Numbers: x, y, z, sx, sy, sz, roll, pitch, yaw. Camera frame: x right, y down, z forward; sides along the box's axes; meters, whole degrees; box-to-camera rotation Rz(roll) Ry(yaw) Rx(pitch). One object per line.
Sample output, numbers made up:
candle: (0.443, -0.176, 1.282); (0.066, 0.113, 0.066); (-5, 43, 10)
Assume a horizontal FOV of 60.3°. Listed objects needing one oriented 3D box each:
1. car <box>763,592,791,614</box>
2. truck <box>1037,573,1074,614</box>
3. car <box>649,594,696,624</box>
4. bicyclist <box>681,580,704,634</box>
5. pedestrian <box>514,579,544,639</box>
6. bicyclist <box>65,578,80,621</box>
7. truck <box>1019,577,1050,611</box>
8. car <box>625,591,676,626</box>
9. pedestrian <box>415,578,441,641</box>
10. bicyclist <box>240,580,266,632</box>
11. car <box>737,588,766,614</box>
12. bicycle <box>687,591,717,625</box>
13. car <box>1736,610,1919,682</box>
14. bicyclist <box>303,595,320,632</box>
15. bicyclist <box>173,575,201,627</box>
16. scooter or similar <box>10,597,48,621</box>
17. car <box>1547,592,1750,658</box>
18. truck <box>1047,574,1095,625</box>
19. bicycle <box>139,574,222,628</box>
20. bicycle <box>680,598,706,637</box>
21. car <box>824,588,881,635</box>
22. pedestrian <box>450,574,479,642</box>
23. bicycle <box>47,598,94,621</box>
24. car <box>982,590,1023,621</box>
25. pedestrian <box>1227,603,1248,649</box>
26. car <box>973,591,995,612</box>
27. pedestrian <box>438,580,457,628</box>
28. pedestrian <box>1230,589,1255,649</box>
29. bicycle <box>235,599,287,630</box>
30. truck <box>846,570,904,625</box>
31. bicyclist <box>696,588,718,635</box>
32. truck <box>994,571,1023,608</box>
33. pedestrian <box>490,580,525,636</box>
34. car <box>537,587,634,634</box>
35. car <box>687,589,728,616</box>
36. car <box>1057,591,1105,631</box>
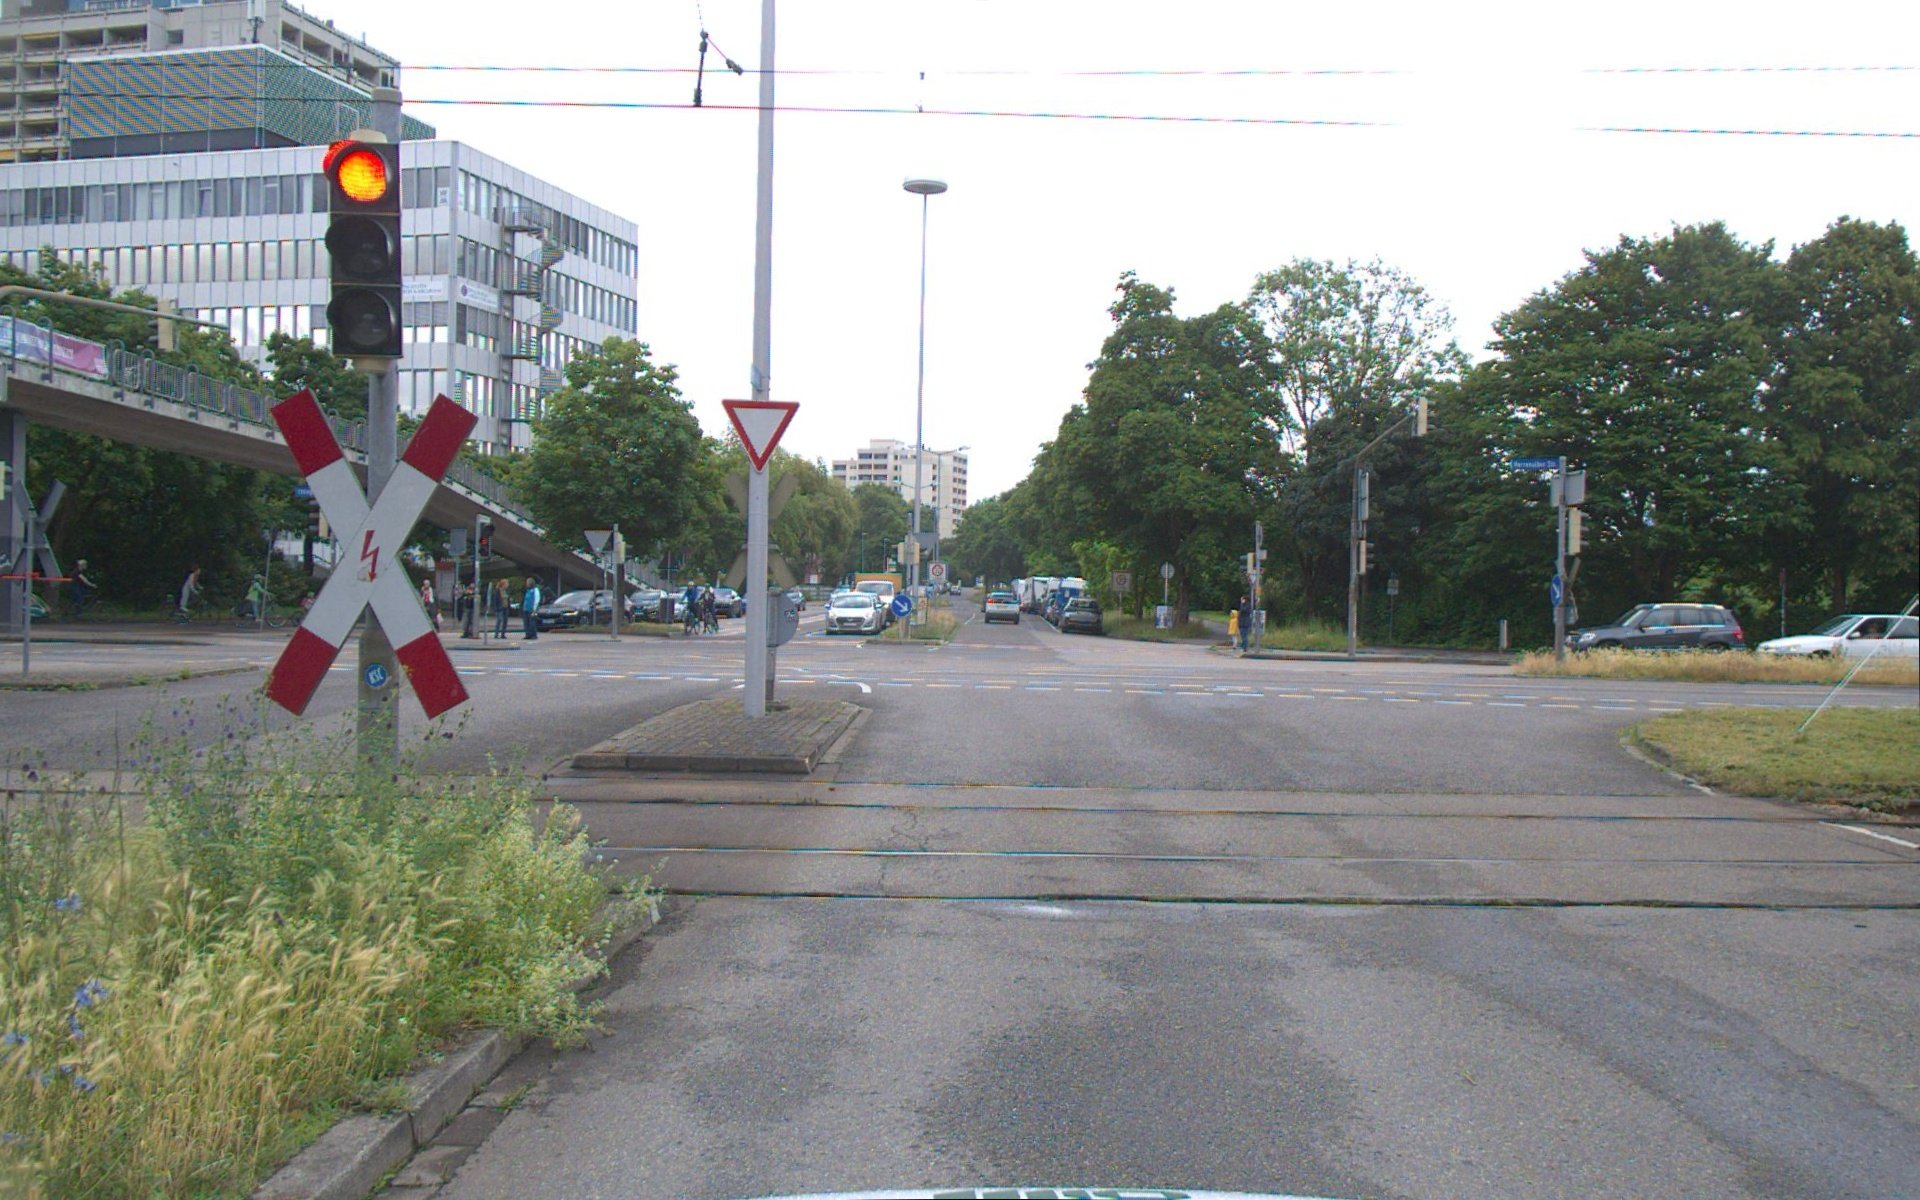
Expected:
car: (-13.854, 0.206, 125.293); (1.637, 1.579, 4.000); (1, 0, 0)
truck: (6.903, -0.473, 120.173); (1.954, 2.888, 5.726); (1, 0, -4)
car: (-14.382, 0.427, 82.913); (1.637, 1.411, 3.895); (1, 0, 0)
bicyclist: (-8.981, 0.238, 55.476); (0.631, 1.799, 0.646); (1, 0, -1)
pedestrian: (-11.893, 0.251, 45.645); (0.673, 1.633, 0.487); (1, 0, -5)
bicyclist: (-27.969, -0.016, 52.118); (0.380, 1.326, 0.275); (1, 0, -38)
truck: (5.944, -0.431, 132.231); (1.954, 2.618, 5.375); (1, 0, -3)
car: (-14.465, 0.383, 77.416); (1.637, 1.579, 3.892); (1, 0, 0)
pedestrian: (-14.620, 0.251, 45.444); (0.608, 1.721, 0.404); (1, 0, -15)
bicyclist: (-22.840, 0.184, 53.440); (0.553, 1.673, 0.531); (1, -1, 0)
car: (-13.437, 0.052, 106.686); (1.415, 1.579, 3.663); (1, 0, -1)
bicycle: (-9.049, 0.267, 58.039); (0.712, 1.120, 2.264); (1, 0, -1)
car: (18.653, 0.949, 34.590); (4.052, 1.381, 1.647); (1, 0, 0)
bicyclist: (-21.318, 0.435, 54.373); (0.396, 1.202, 0.377); (1, 1, 1)
bicyclist: (-24.809, 0.040, 53.111); (0.736, 1.653, 0.524); (1, 0, -21)
scooter or similar: (-28.889, 0.280, 51.335); (0.986, 0.727, 0.401); (1, 0, -36)
car: (17.460, 0.614, 42.087); (4.373, 1.530, 1.846); (1, 0, 0)
truck: (6.069, 0.002, 90.811); (2.130, 2.703, 6.245); (0, 0, -1)
bicycle: (-24.968, 0.036, 53.020); (2.324, 1.653, 0.524); (1, 0, -21)
bicycle: (-9.011, 0.575, 55.828); (0.532, 1.289, 2.110); (1, 0, -1)
car: (-3.730, 0.382, 57.867); (1.753, 1.545, 4.325); (1, 0, -1)
pedestrian: (-13.660, 0.213, 45.592); (0.625, 1.835, 0.800); (1, 0, -10)
bicycle: (-28.006, 0.289, 52.092); (1.283, 0.704, 0.286); (1, 0, -37)
car: (2.258, 0.279, 88.859); (1.979, 1.531, 3.999); (1, 0, -1)
pedestrian: (8.385, 0.790, 49.955); (0.516, 1.365, 0.525); (1, 0, -1)
car: (1.825, 0.104, 126.705); (1.522, 1.531, 4.000); (1, 0, 0)
pedestrian: (-17.417, 0.140, 56.227); (0.570, 1.607, 0.777); (1, 0, -19)
pedestrian: (8.418, 0.565, 49.298); (0.643, 1.780, 0.459); (1, 0, -1)
bicycle: (-22.470, 0.459, 53.195); (0.618, 0.941, 2.523); (1, 0, -1)
truck: (-3.640, -0.132, 71.864); (2.111, 2.237, 5.841); (1, 0, 1)
bicyclist: (-8.911, 0.398, 58.335); (0.665, 1.622, 0.695); (1, -1, -1)
truck: (4.168, -0.902, 142.998); (1.954, 3.061, 5.767); (1, 0, -4)
pedestrian: (-12.483, 0.216, 45.636); (0.901, 1.537, 0.403); (1, 0, -12)
car: (-13.106, 0.351, 58.067); (1.636, 1.579, 4.003); (1, 0, 15)
car: (-14.144, 0.117, 92.789); (1.727, 1.419, 3.999); (1, 0, -1)
car: (5.384, 0.468, 74.001); (1.747, 1.691, 3.999); (1, 0, -1)
